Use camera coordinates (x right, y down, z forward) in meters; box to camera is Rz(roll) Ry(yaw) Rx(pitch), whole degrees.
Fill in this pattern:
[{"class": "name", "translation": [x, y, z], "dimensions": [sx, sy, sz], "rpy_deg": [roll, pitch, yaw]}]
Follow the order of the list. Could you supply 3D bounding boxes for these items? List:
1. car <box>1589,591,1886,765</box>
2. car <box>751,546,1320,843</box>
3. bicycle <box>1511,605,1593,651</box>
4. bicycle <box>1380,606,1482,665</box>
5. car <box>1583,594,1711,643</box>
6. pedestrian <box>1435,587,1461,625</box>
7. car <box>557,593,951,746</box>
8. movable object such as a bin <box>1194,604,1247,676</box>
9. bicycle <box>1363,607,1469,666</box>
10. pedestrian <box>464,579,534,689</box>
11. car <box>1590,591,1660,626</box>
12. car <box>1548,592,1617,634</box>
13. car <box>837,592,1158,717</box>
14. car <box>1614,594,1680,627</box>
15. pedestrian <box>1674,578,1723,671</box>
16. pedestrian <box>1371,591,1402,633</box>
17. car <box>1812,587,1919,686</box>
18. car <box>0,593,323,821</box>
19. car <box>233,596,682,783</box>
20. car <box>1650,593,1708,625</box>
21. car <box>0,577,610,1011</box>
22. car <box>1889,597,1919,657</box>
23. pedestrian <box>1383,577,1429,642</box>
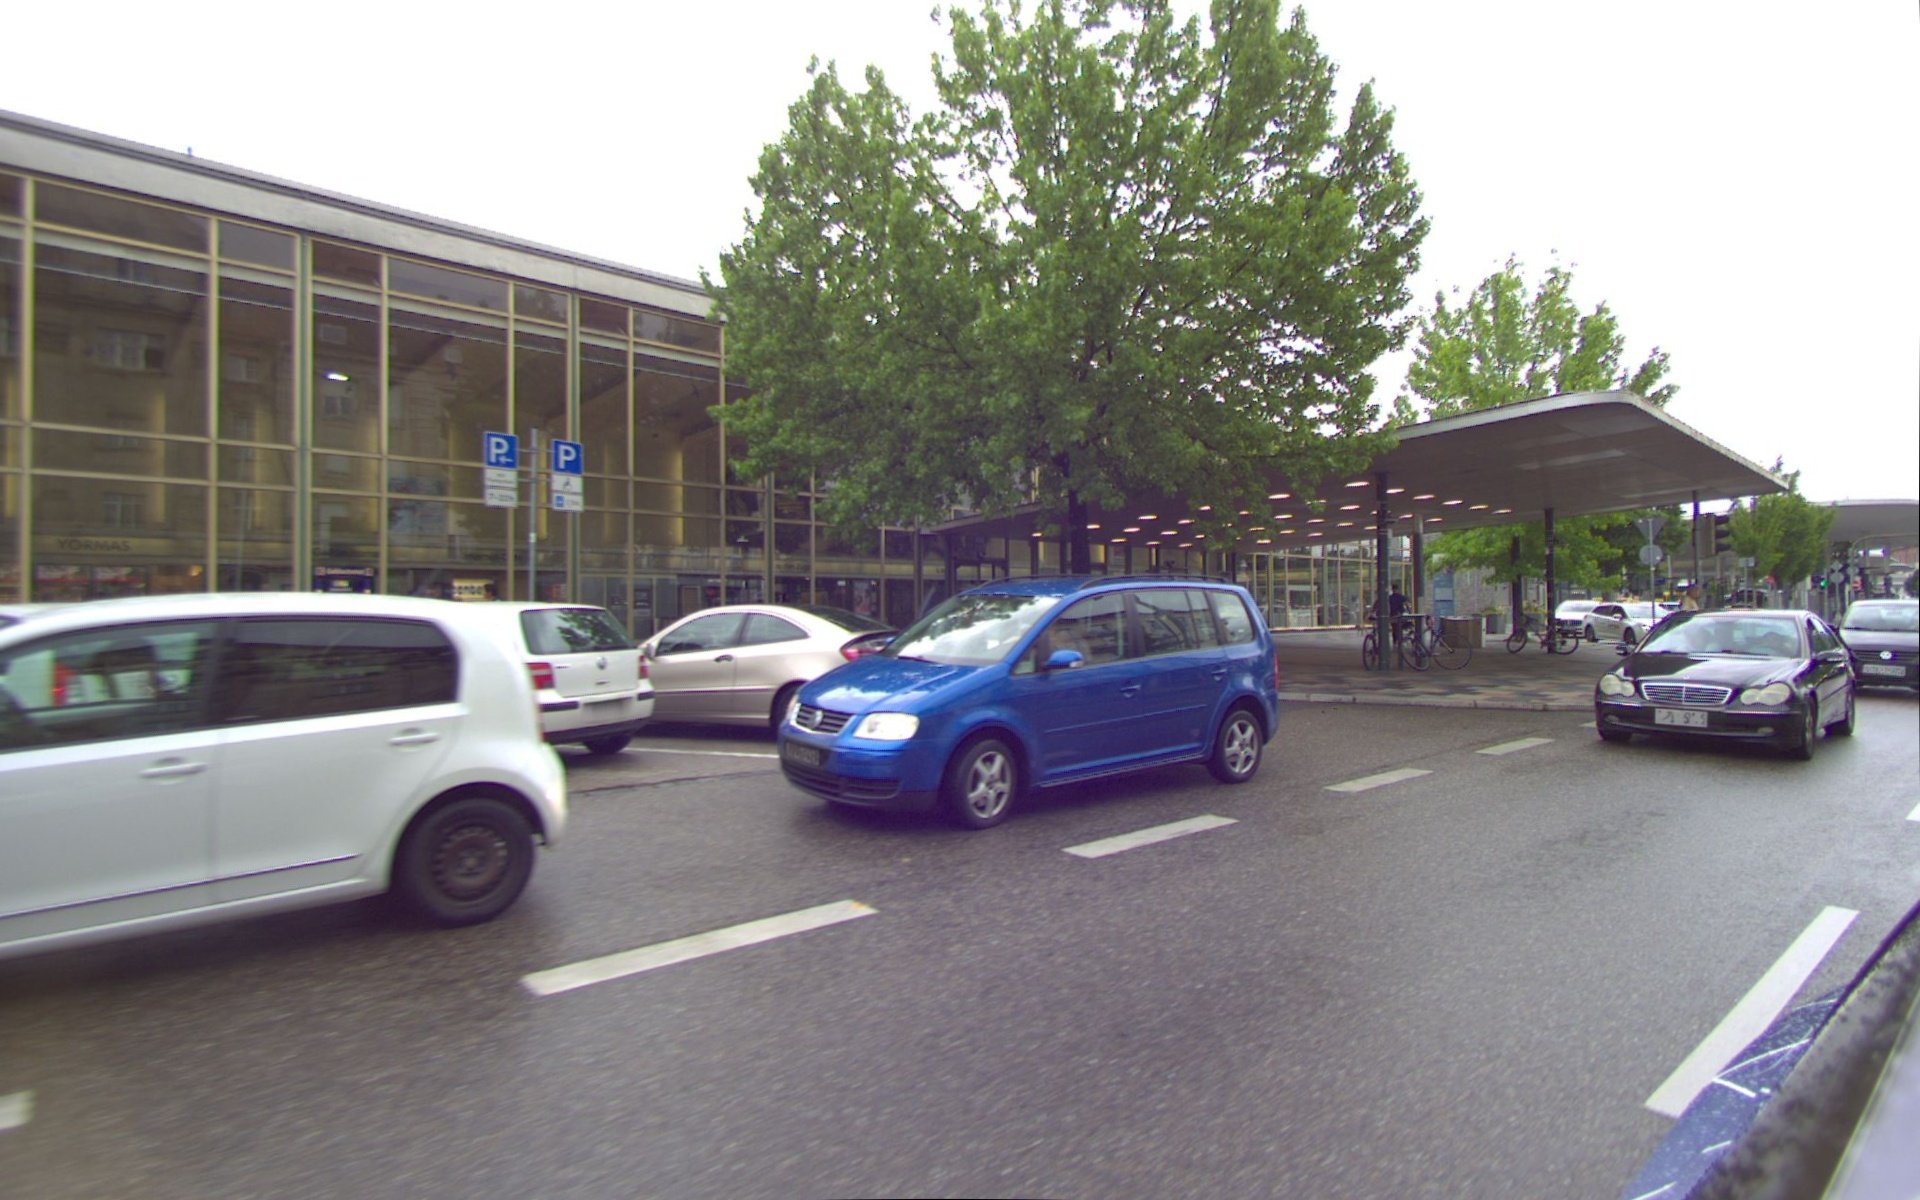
[{"class": "car", "translation": [8.298, 0.655, 10.691], "dimensions": [3.760, 1.493, 1.870], "rpy_deg": [0, 0, -42]}, {"class": "car", "translation": [0.758, 0.525, 7.863], "dimensions": [4.336, 1.704, 1.824], "rpy_deg": [0, 0, -38]}, {"class": "bicycle", "translation": [14.791, 0.677, 25.305], "dimensions": [1.712, 1.059, 0.517], "rpy_deg": [2, 1, 40]}, {"class": "bicycle", "translation": [8.964, 0.657, 19.312], "dimensions": [1.696, 1.059, 0.522], "rpy_deg": [1, 0, 16]}, {"class": "car", "translation": [22.792, 0.552, 33.778], "dimensions": [1.790, 1.510, 4.152], "rpy_deg": [0, 0, 7]}, {"class": "pedestrian", "translation": [21.597, 0.263, 44.811], "dimensions": [0.837, 1.669, 0.761], "rpy_deg": [0, 0, -41]}, {"class": "car", "translation": [-2.215, 0.643, 10.998], "dimensions": [3.883, 1.417, 1.767], "rpy_deg": [0, 0, 21]}, {"class": "movable object such as a bin", "translation": [4.193, 0.632, 16.271], "dimensions": [0.686, 1.121, 0.542], "rpy_deg": [0, 0, 35]}, {"class": "bicycle", "translation": [8.437, 0.672, 18.765], "dimensions": [1.691, 1.059, 0.524], "rpy_deg": [0, 0, 8]}, {"class": "pedestrian", "translation": [-7.209, 0.503, 15.824], "dimensions": [0.819, 1.662, 0.758], "rpy_deg": [0, 0, -42]}, {"class": "car", "translation": [29.924, 0.346, 45.505], "dimensions": [4.102, 1.510, 1.816], "rpy_deg": [0, 0, -44]}, {"class": "car", "translation": [24.992, 0.465, 40.553], "dimensions": [1.812, 1.575, 4.401], "rpy_deg": [0, 0, 39]}, {"class": "car", "translation": [0.469, 0.612, 13.341], "dimensions": [3.895, 1.417, 1.762], "rpy_deg": [0, 0, 29]}, {"class": "car", "translation": [33.296, 0.477, 48.976], "dimensions": [4.391, 1.510, 1.816], "rpy_deg": [0, 0, -44]}, {"class": "pedestrian", "translation": [14.355, 0.458, 19.668], "dimensions": [0.686, 1.773, 0.561], "rpy_deg": [0, 1, -36]}, {"class": "pedestrian", "translation": [15.959, 0.437, 37.863], "dimensions": [0.837, 1.530, 0.761], "rpy_deg": [0, 0, -41]}, {"class": "car", "translation": [15.603, 0.533, 16.785], "dimensions": [3.762, 1.493, 1.869], "rpy_deg": [0, 0, -44]}, {"class": "car", "translation": [-7.017, 0.662, 7.842], "dimensions": [3.576, 1.417, 1.767], "rpy_deg": [0, 0, 21]}, {"class": "car", "translation": [-4.556, 0.677, 9.251], "dimensions": [3.576, 1.417, 1.767], "rpy_deg": [0, 0, 21]}, {"class": "car", "translation": [37.988, 0.461, 53.433], "dimensions": [4.010, 1.610, 1.816], "rpy_deg": [0, 0, -44]}, {"class": "car", "translation": [-3.548, 0.659, 4.358], "dimensions": [3.524, 1.493, 1.661], "rpy_deg": [0, 0, -39]}, {"class": "car", "translation": [25.677, 0.671, 26.528], "dimensions": [3.606, 1.505, 1.618], "rpy_deg": [0, 0, -42]}, {"class": "pedestrian", "translation": [12.335, 0.253, 27.993], "dimensions": [0.895, 1.780, 0.824], "rpy_deg": [0, 0, -36]}]
